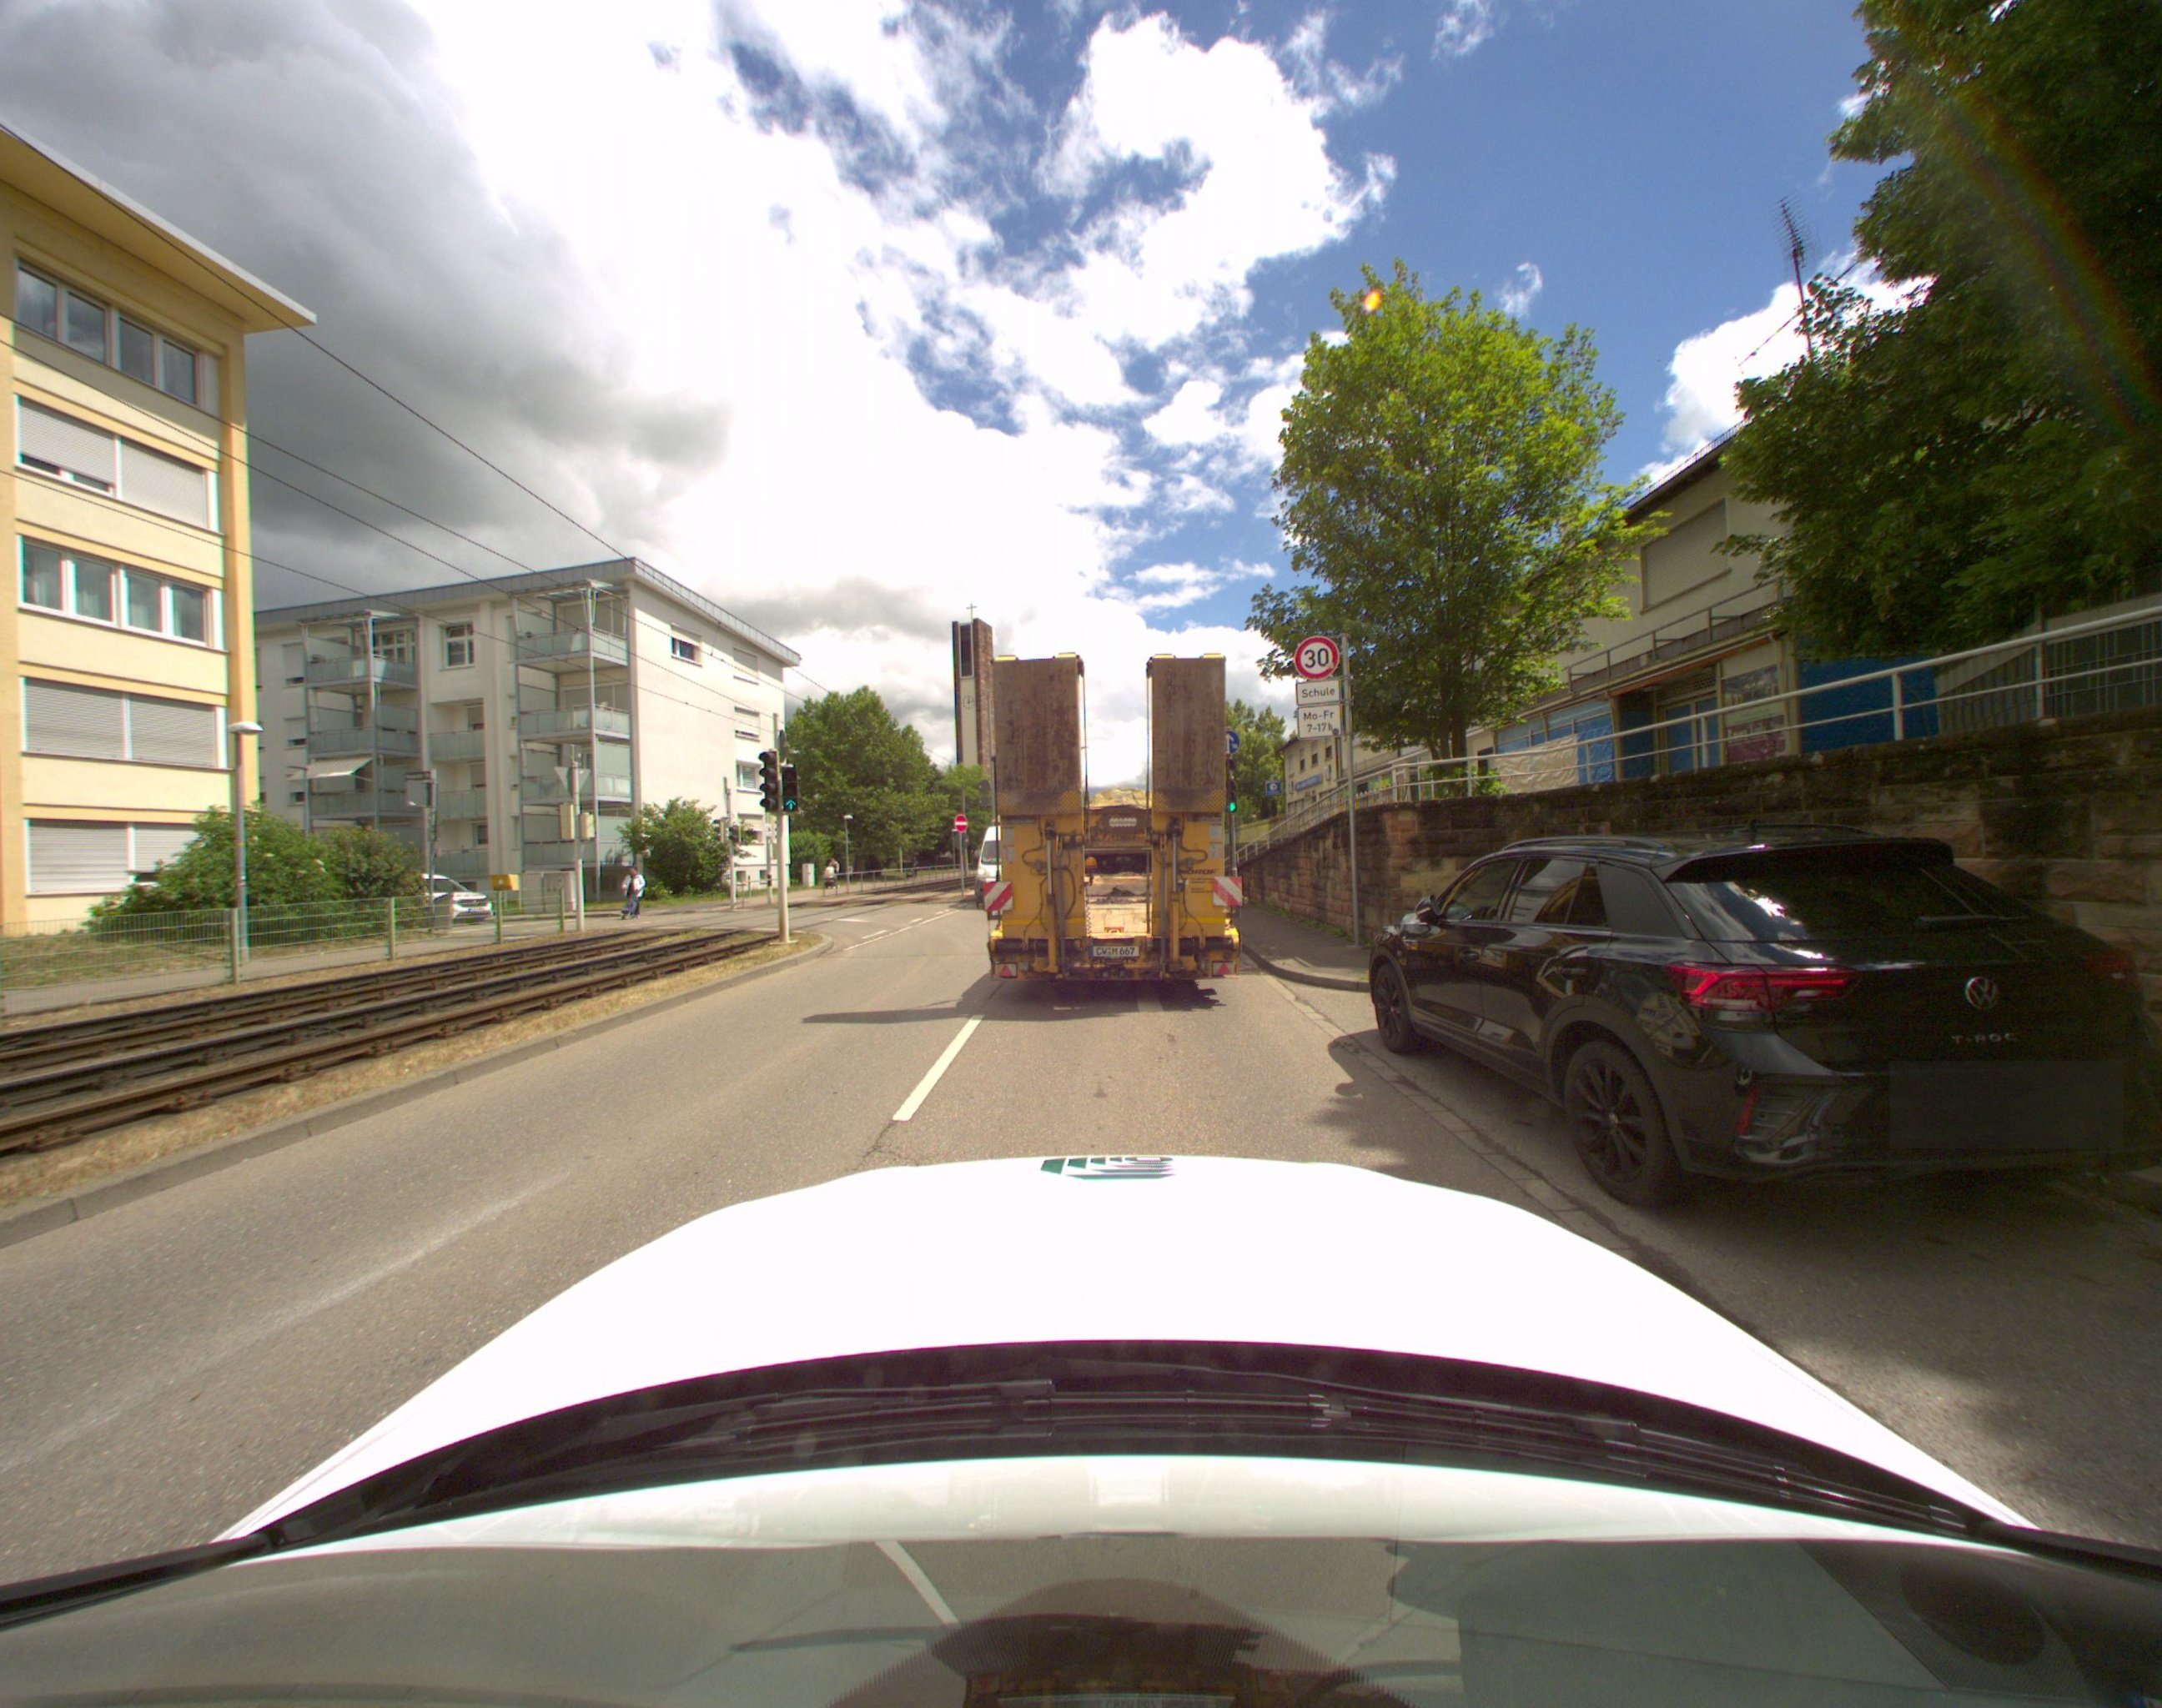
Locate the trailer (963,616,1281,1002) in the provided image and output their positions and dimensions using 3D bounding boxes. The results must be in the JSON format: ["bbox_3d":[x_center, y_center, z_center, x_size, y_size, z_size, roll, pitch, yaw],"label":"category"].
[{"bbox_3d":[0.567,-0.437,12.161,2.933,3.601,8.689,-2,0,2],"label":"trailer"}]

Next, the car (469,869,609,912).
[{"bbox_3d":[-19.826,1.326,29.853,3.963,1.345,1.906,-2,0,9],"label":"car"}]

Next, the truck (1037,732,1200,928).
[{"bbox_3d":[0.796,-0.454,17.650,2.931,3.572,4.879,-2,0,2],"label":"truck"}]

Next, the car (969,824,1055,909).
[{"bbox_3d":[-2.013,0.343,25.440,2.005,2.359,5.385,0,0,2],"label":"car"}]

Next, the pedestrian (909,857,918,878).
[{"bbox_3d":[-12.355,0.976,60.147,0.562,1.513,0.646,0,0,0],"label":"pedestrian"}]

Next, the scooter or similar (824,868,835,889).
[{"bbox_3d":[-13.153,1.287,42.617,0.336,1.057,0.688,0,0,5],"label":"scooter or similar"}]

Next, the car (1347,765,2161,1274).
[{"bbox_3d":[3.093,0.554,4.753,1.843,1.639,4.002,-3,0,2],"label":"car"}]

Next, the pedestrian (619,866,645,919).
[{"bbox_3d":[-13.703,1.181,24.867,0.435,1.581,0.475,-2,0,6],"label":"pedestrian"}]

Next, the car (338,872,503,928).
[{"bbox_3d":[-21.207,1.437,26.231,3.962,1.651,2.006,0,0,10],"label":"car"}]

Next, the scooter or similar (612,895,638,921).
[{"bbox_3d":[-13.641,1.615,24.364,0.435,0.747,0.475,-2,0,6],"label":"scooter or similar"}]

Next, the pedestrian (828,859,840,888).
[{"bbox_3d":[-13.107,1.043,43.252,0.346,1.537,0.558,-2,0,5],"label":"pedestrian"}]

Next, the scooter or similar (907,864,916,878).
[{"bbox_3d":[-12.385,1.241,59.497,0.504,0.971,0.646,0,0,0],"label":"scooter or similar"}]
